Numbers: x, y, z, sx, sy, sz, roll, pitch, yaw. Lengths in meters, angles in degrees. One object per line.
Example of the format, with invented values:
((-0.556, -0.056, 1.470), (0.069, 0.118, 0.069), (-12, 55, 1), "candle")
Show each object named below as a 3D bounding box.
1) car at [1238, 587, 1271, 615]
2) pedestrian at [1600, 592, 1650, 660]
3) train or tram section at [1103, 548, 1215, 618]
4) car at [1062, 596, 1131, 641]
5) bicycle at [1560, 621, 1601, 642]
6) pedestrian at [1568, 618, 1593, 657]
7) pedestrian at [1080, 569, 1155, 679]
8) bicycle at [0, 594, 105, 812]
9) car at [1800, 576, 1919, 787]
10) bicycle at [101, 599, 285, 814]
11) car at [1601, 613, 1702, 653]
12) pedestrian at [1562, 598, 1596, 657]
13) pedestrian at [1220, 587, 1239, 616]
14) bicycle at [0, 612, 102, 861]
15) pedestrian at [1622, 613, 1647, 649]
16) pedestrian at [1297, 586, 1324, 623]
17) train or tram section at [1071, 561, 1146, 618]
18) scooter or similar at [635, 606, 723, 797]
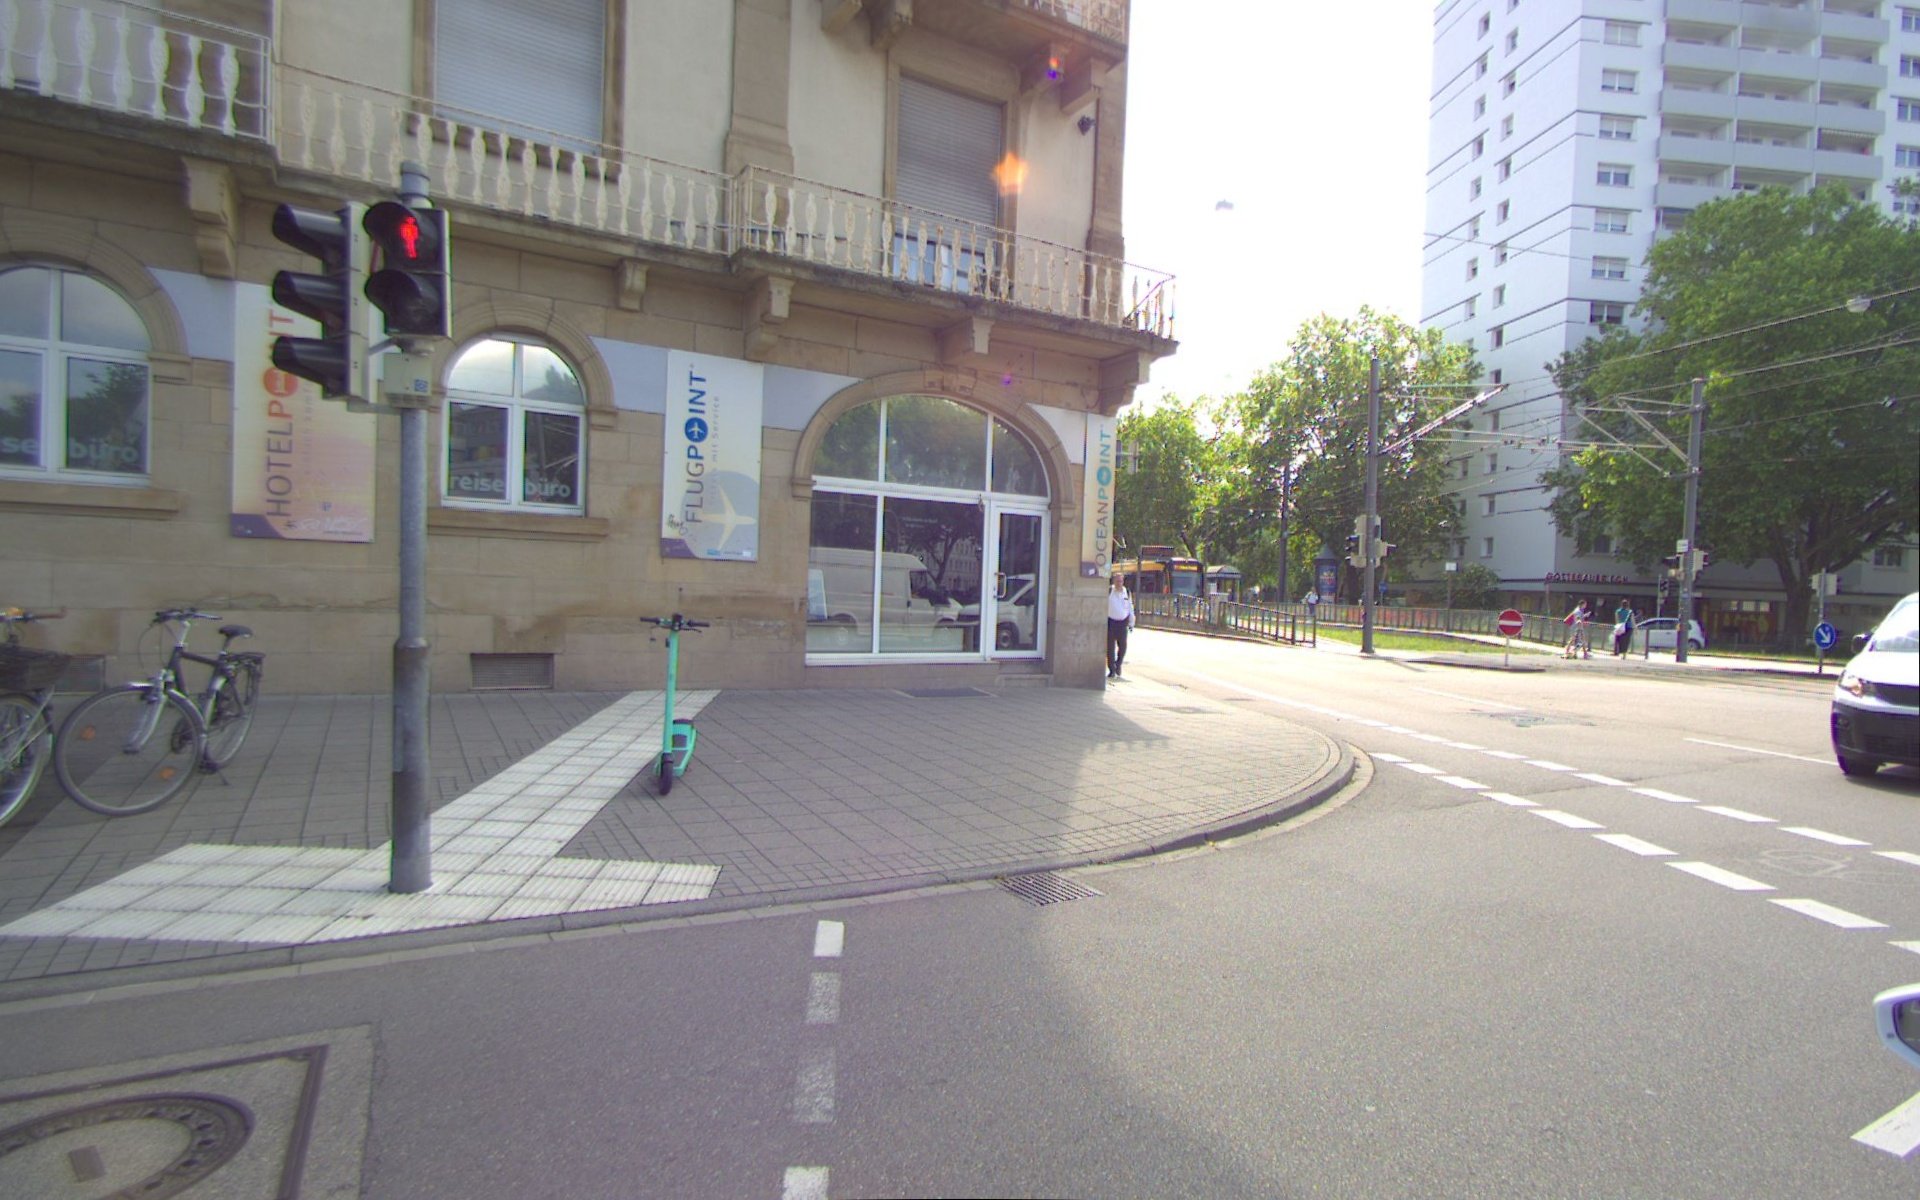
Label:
((30.930, 0.073, 105.574), (1.779, 2.812, 4.274), (2, 1, -6), "car")
((19.567, 0.748, 29.556), (0.814, 1.924, 0.845), (2, 1, -6), "pedestrian")
((11.544, -0.967, 59.985), (2.763, 3.632, 13.003), (2, 0, -6), "train or tram section")
((4.898, 0.626, 36.508), (1.608, 1.458, 3.639), (2, 1, -7), "car")
((32.503, 1.650, 52.612), (1.695, 1.023, 0.534), (2, 1, 21), "bicycle")
((17.821, 1.078, 28.852), (0.412, 1.077, 0.437), (2, 1, 9), "pedestrian")
((2.837, 0.430, 18.110), (0.895, 1.884, 0.798), (4, 0, -30), "pedestrian")
((-5.465, 0.551, 5.678), (0.473, 1.066, 1.605), (1, 3, -22), "bicycle")
((10.014, 0.711, 9.598), (4.235, 1.799, 1.802), (0, 1, -32), "car")
((-4.572, 0.572, 6.077), (0.473, 1.066, 1.436), (2, 3, -20), "bicycle")
((30.591, 1.419, 44.549), (3.511, 1.564, 1.555), (3, 0, 29), "car")
((18.119, 0.791, 29.414), (0.613, 1.688, 0.676), (1, 0, 9), "pedestrian")
((17.123, 0.065, 63.776), (0.844, 1.798, 0.876), (2, 1, -6), "pedestrian")
((-4.559, 0.648, 4.371), (0.522, 1.066, 1.731), (2, 3, -14), "bicycle")
((31.845, 1.455, 47.413), (0.525, 1.620, 0.783), (2, 1, -8), "pedestrian")
((17.726, 0.233, 50.810), (0.835, 1.804, 1.044), (2, 1, -5), "pedestrian")
((10.397, -0.753, 71.646), (2.752, 3.632, 10.393), (2, 1, -6), "train or tram section")
((-1.956, 0.666, 7.100), (0.473, 1.161, 1.250), (3, 3, -12), "scooter or similar")
